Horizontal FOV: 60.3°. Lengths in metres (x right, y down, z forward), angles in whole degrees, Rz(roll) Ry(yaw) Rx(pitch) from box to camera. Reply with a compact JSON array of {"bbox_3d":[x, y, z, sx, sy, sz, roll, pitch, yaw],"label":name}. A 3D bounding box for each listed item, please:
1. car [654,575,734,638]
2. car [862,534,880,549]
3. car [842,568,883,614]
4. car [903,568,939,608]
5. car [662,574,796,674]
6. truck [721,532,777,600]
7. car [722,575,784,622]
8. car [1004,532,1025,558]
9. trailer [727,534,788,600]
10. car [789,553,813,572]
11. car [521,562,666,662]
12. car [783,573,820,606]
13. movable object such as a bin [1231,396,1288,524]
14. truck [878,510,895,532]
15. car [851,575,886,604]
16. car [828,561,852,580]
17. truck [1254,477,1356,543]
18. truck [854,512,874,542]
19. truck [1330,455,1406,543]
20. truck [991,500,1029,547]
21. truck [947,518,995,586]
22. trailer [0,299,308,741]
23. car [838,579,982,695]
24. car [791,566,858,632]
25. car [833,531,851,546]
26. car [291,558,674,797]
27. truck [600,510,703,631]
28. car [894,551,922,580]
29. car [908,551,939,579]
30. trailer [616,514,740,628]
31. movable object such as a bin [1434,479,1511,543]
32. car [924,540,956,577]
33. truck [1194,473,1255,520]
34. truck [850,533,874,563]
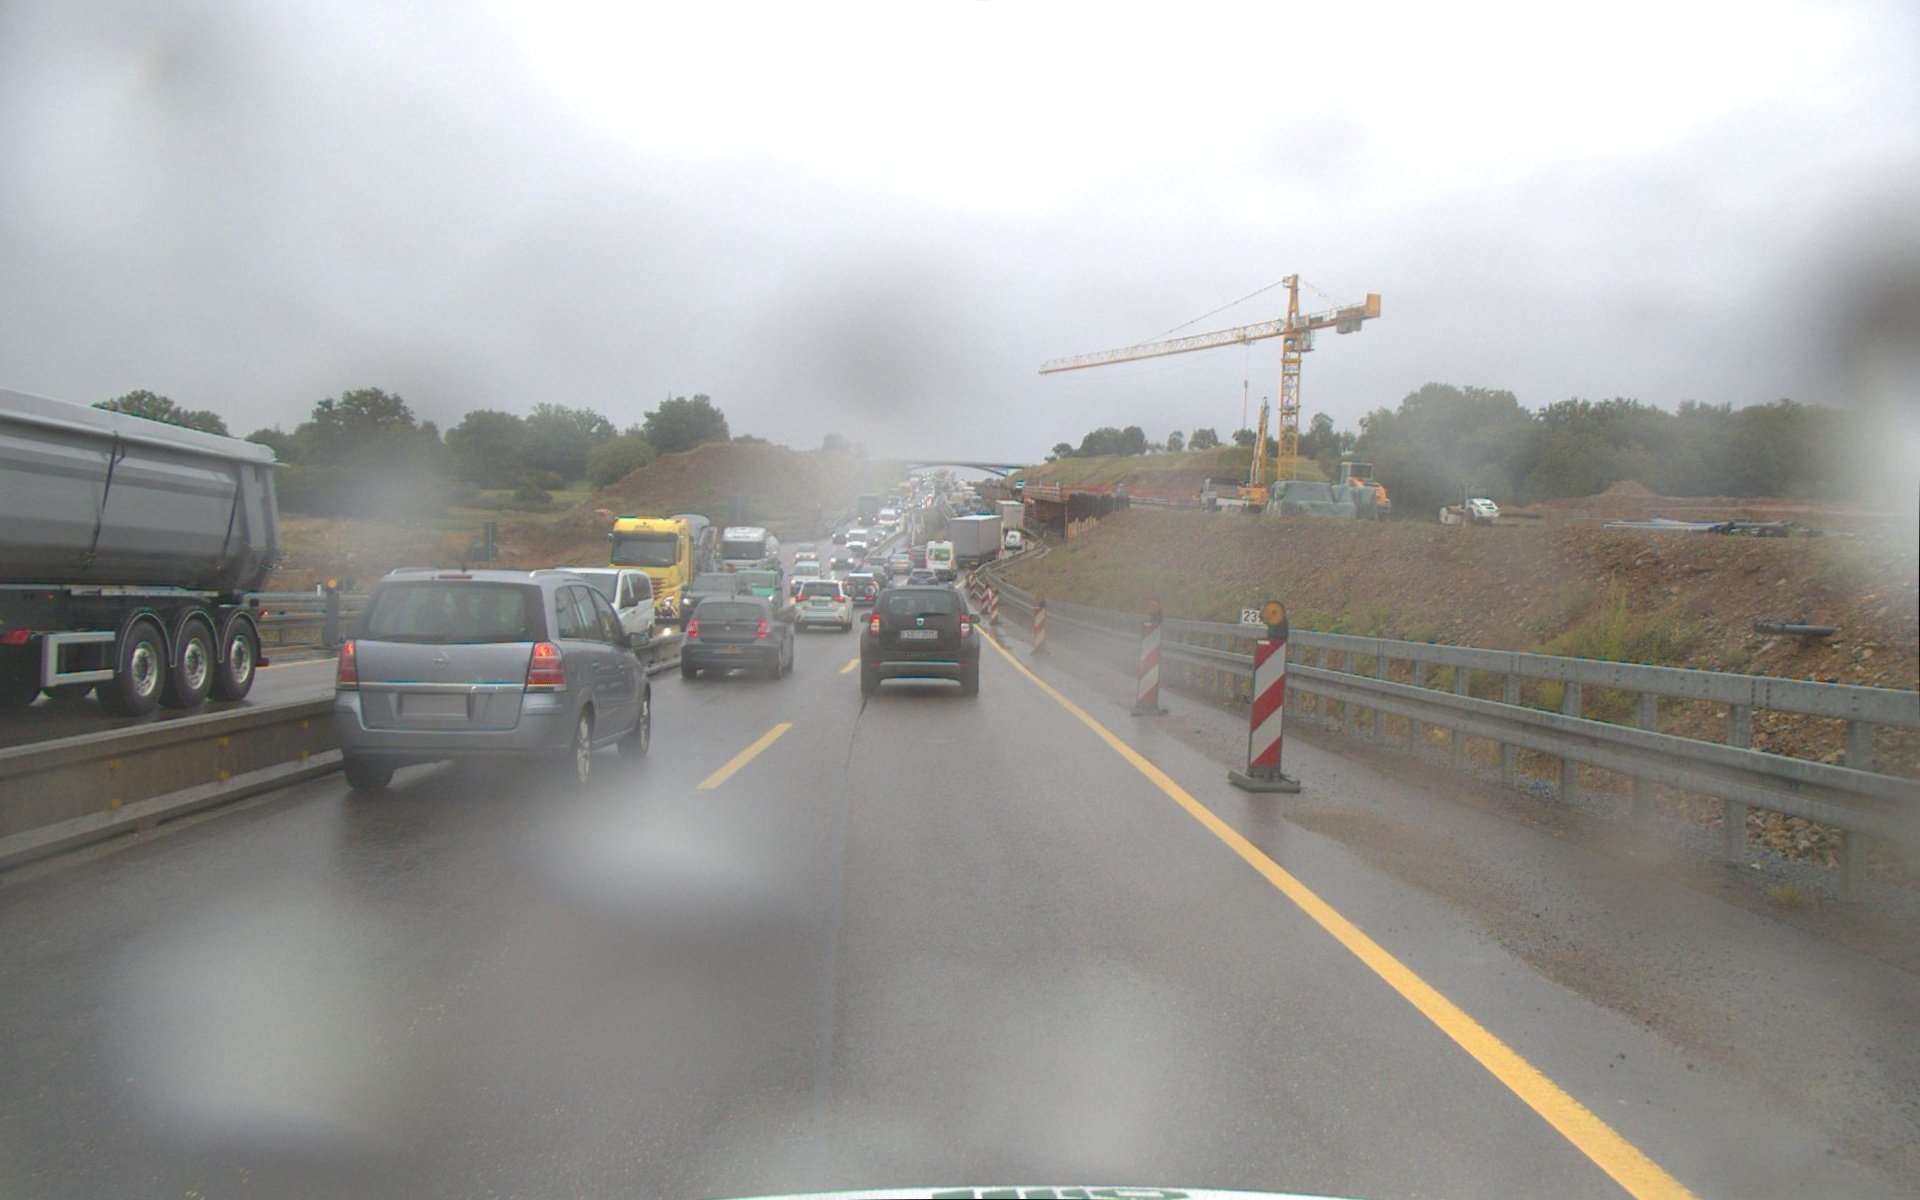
[{"bbox_3d":[-8.207,0.177,51.407,1.751,1.837,5.188,0,0,-1],"label":"car"},{"bbox_3d":[-9.435,-6.150,174.875,1.751,1.565,4.311,1,1,-2],"label":"car"},{"bbox_3d":[-4.891,-0.453,82.415,1.954,2.200,4.137,1,0,-4],"label":"car"},{"bbox_3d":[-2.217,-0.704,95.323,1.953,2.200,4.140,1,0,0],"label":"car"},{"bbox_3d":[-4.031,0.384,29.475,1.954,1.628,4.138,1,0,-3],"label":"car"},{"bbox_3d":[-12.130,-1.958,95.505,2.567,3.741,6.593,1,1,-2],"label":"truck"},{"bbox_3d":[-8.190,-0.096,65.908,1.953,1.789,4.687,1,1,-1],"label":"car"},{"bbox_3d":[5.632,-5.723,172.529,1.953,2.527,4.741,1,0,0],"label":"car"},{"bbox_3d":[-12.305,-1.986,101.319,2.567,3.741,12.000,1,1,-2],"label":"trailer"},{"bbox_3d":[-13.419,-3.168,139.681,1.752,1.573,3.999,1,1,-2],"label":"car"},{"bbox_3d":[-7.247,0.203,33.213,1.837,1.824,5.358,0,0,-1],"label":"car"},{"bbox_3d":[-9.032,-0.625,94.705,1.828,1.831,4.161,1,1,-2],"label":"car"},{"bbox_3d":[27.869,-12.760,153.470,4.618,11.031,10.312,1,0,13],"label":"movable object such as a bin"},{"bbox_3d":[-9.307,-10.015,210.005,2.104,2.760,6.015,1,2,-2],"label":"truck"},{"bbox_3d":[-5.730,-0.657,103.669,1.953,1.792,3.814,1,0,-1],"label":"car"},{"bbox_3d":[-9.714,-2.397,134.088,1.737,1.530,4.678,1,1,-2],"label":"car"},{"bbox_3d":[17.526,-4.528,84.642,3.326,2.925,8.960,1,0,0],"label":"truck"},{"bbox_3d":[-13.263,-10.106,228.529,2.588,4.038,9.212,1,3,-2],"label":"truck"},{"bbox_3d":[21.654,-5.299,88.113,2.325,4.292,5.977,1,0,-2],"label":"truck"},{"bbox_3d":[5.951,-9.084,199.314,3.727,5.130,12.917,1,0,-2],"label":"truck"},{"bbox_3d":[1.019,-4.000,140.051,3.036,5.520,9.450,1,0,6],"label":"truck"},{"bbox_3d":[-10.135,-0.747,17.672,2.631,4.032,9.817,0,0,-1],"label":"trailer"},{"bbox_3d":[-0.733,0.508,25.790,2.039,1.628,4.140,1,0,-1],"label":"car"},{"bbox_3d":[-4.401,-0.038,54.240,1.953,2.049,3.892,1,0,-2],"label":"car"},{"bbox_3d":[-12.688,-6.598,178.235,1.751,1.565,4.311,1,1,-2],"label":"car"},{"bbox_3d":[-3.668,0.518,13.544,1.953,1.628,4.140,1,0,-1],"label":"car"},{"bbox_3d":[-11.160,-1.056,60.366,2.694,4.133,6.146,1,0,-1],"label":"truck"},{"bbox_3d":[-3.985,-2.638,128.004,1.952,2.200,4.141,1,0,1],"label":"car"},{"bbox_3d":[-3.074,-2.934,139.125,1.951,2.200,4.144,1,0,8],"label":"car"},{"bbox_3d":[-11.303,-1.113,67.976,2.693,4.112,15.355,1,0,-1],"label":"trailer"},{"bbox_3d":[32.159,-5.518,104.015,2.295,3.662,6.555,1,0,-4],"label":"movable object such as a bin"},{"bbox_3d":[-1.405,-2.962,119.347,1.952,2.527,4.984,1,0,3],"label":"car"},{"bbox_3d":[16.902,-6.566,106.101,2.592,2.599,6.982,1,0,-2],"label":"truck"},{"bbox_3d":[-9.244,-4.857,155.682,2.037,2.621,5.960,1,0,-2],"label":"truck"}]
